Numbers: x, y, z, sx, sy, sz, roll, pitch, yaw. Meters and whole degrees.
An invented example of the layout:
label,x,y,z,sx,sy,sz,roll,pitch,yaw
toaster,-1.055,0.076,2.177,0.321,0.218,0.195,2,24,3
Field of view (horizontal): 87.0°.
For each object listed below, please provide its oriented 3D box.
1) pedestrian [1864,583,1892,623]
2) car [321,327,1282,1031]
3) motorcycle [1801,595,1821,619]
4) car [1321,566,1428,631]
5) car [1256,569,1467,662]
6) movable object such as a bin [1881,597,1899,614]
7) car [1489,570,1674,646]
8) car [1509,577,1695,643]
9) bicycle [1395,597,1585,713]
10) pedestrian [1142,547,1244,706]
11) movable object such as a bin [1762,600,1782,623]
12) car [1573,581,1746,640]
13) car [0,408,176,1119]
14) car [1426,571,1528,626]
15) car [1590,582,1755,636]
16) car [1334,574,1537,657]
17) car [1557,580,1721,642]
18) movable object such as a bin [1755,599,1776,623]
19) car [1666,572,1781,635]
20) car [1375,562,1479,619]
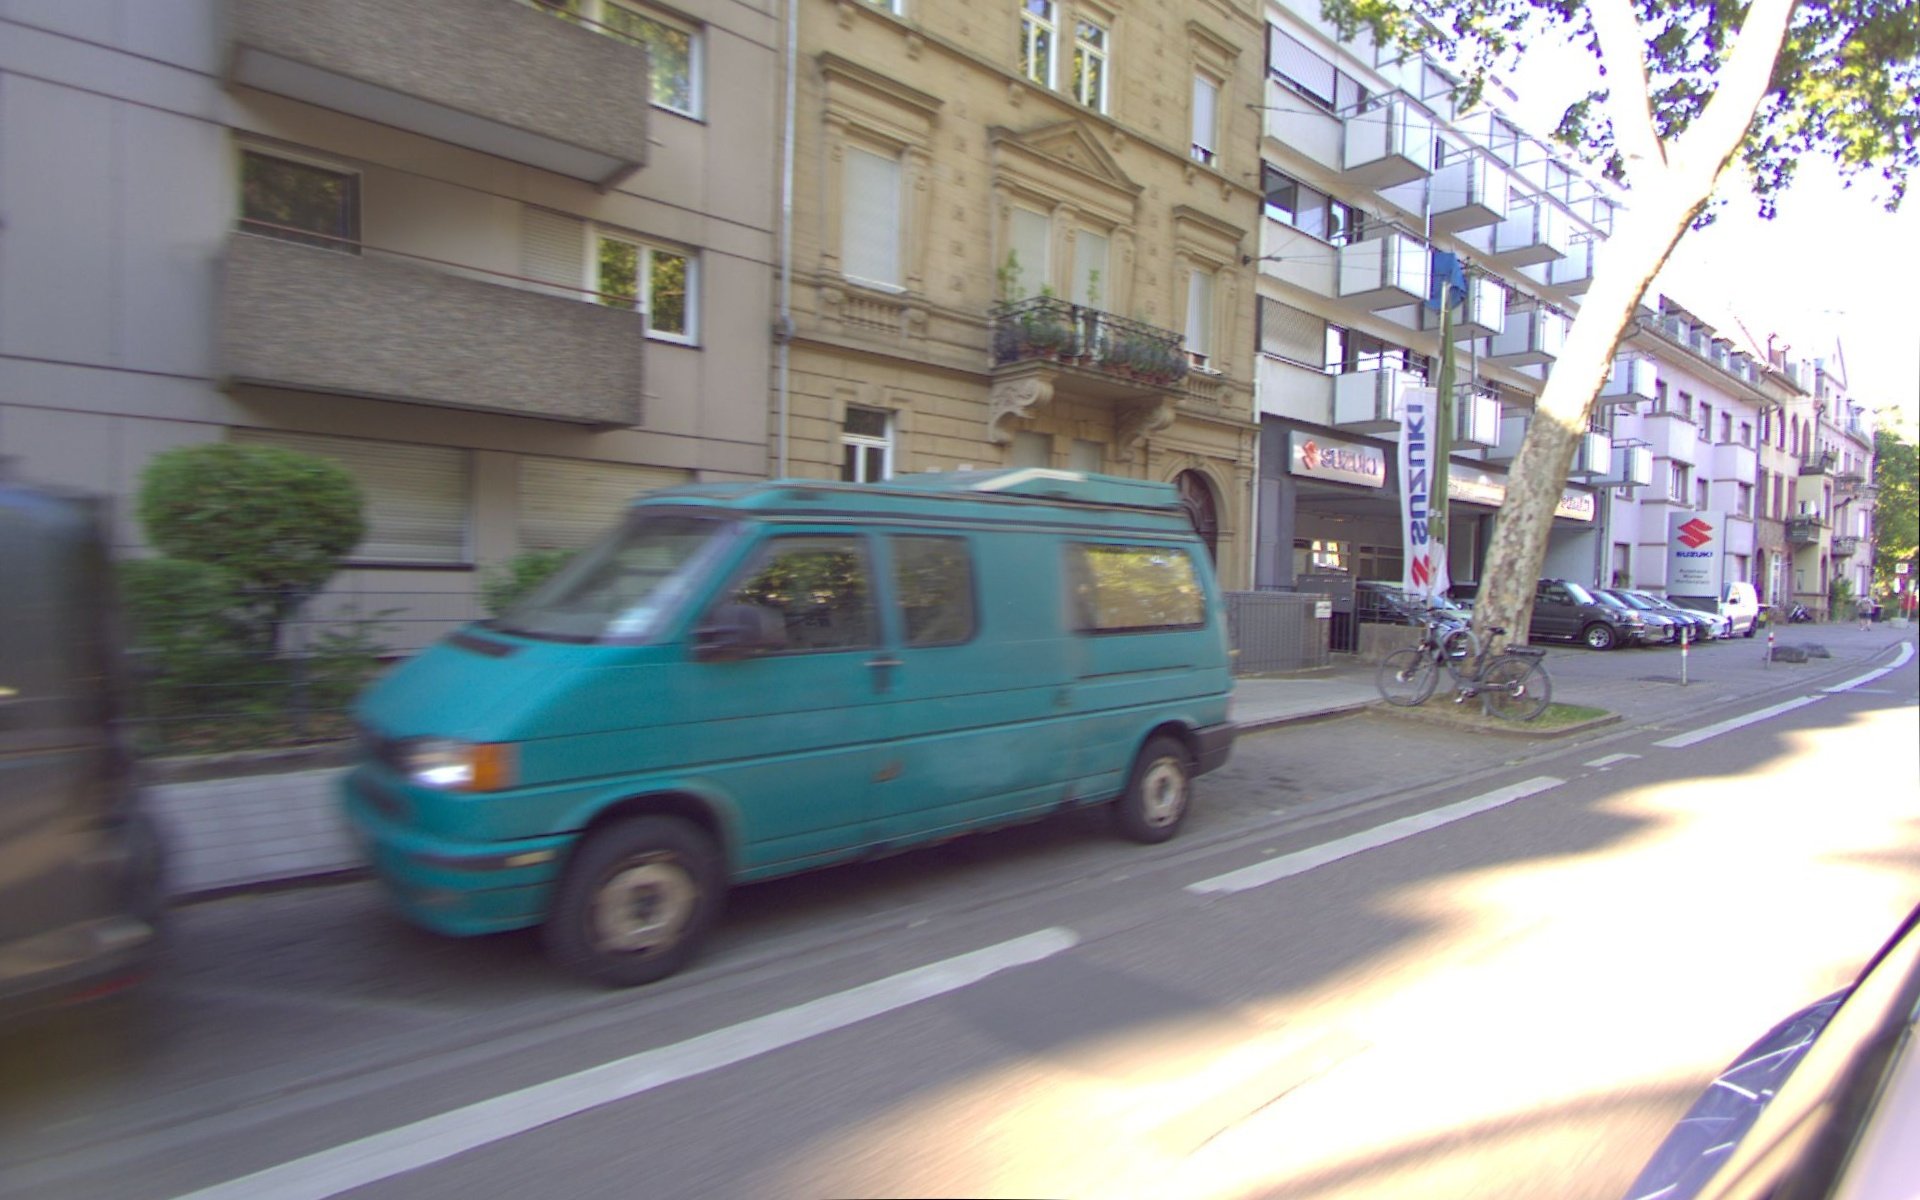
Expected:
label,x,y,z,sx,sy,sz,roll,pitch,yaw
pedestrian,43.658,0.147,48.124,1.131,1.835,0.830,-1,2,-42
car,-0.444,0.181,5.755,5.146,2.285,1.997,-1,3,-42
motorcycle,44.984,0.358,53.474,2.465,1.151,0.590,-2,3,-45
car,11.603,-0.092,28.562,1.588,1.677,3.599,1,2,2
car,7.505,0.215,19.126,1.418,1.565,3.423,-1,3,-43
movable object such as a bin,58.450,0.335,63.593,0.646,1.059,0.659,0,2,-28
car,15.617,0.167,25.565,1.651,1.741,3.590,2,1,-38
car,17.056,0.206,27.000,1.827,1.559,3.826,0,2,-41
bicycle,5.883,0.573,11.334,1.845,1.157,0.343,2,2,43
pedestrian,2.540,0.259,11.046,0.907,1.649,0.664,-1,2,-41
movable object such as a bin,35.550,0.496,44.325,0.574,0.981,0.555,-1,2,-39
car,20.517,0.271,29.790,1.778,1.533,3.875,1,1,-42
car,-4.620,0.436,2.047,4.676,1.852,1.997,-1,3,-42
car,15.974,-0.091,31.432,1.477,1.582,3.347,1,2,2
car,22.081,0.253,31.454,1.879,1.520,3.820,1,1,-39
car,9.890,0.242,21.227,1.725,1.537,3.427,-1,3,-38
car,18.876,0.256,28.238,1.709,1.544,3.427,0,2,-38
movable object such as a bin,34.730,0.464,43.630,0.574,0.981,0.555,-1,2,-39
car,25.871,0.037,34.246,4.811,1.972,1.898,-1,2,-38
car,14.044,-0.327,30.668,1.580,1.582,3.525,1,2,2
